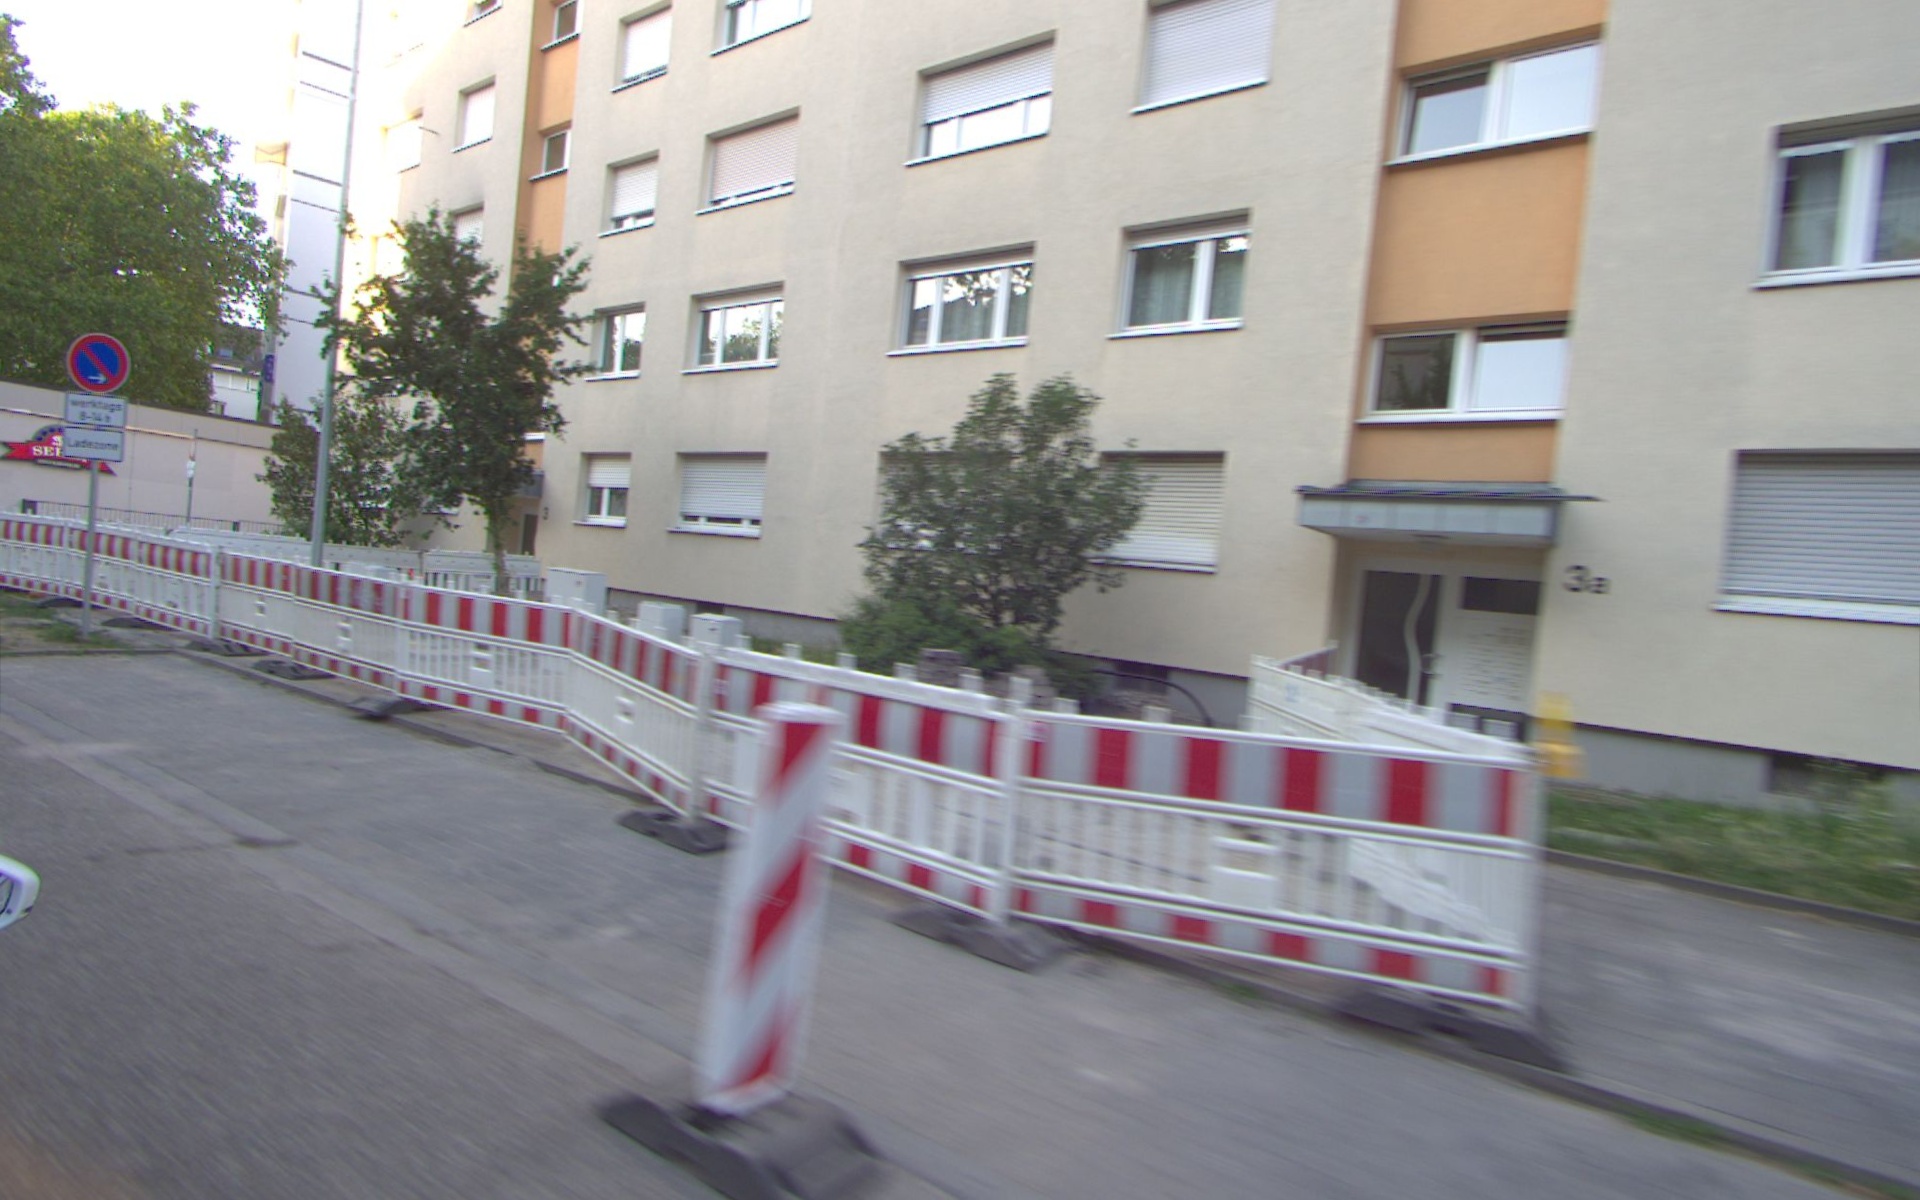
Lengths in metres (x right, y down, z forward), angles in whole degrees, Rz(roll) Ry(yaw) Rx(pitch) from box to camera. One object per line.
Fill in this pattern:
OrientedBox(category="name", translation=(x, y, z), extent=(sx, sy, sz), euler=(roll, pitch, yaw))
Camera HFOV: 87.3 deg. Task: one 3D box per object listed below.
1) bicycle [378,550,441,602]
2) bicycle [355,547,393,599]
OrientedBox(category="bicycle", translation=(-12.082, -0.538, 22.065), extent=(1.672, 0.980, 0.543), euler=(7, 1, 38))
OrientedBox(category="bicycle", translation=(-12.367, -0.591, 21.224), extent=(0.540, 0.980, 1.798), euler=(5, 1, -33))
